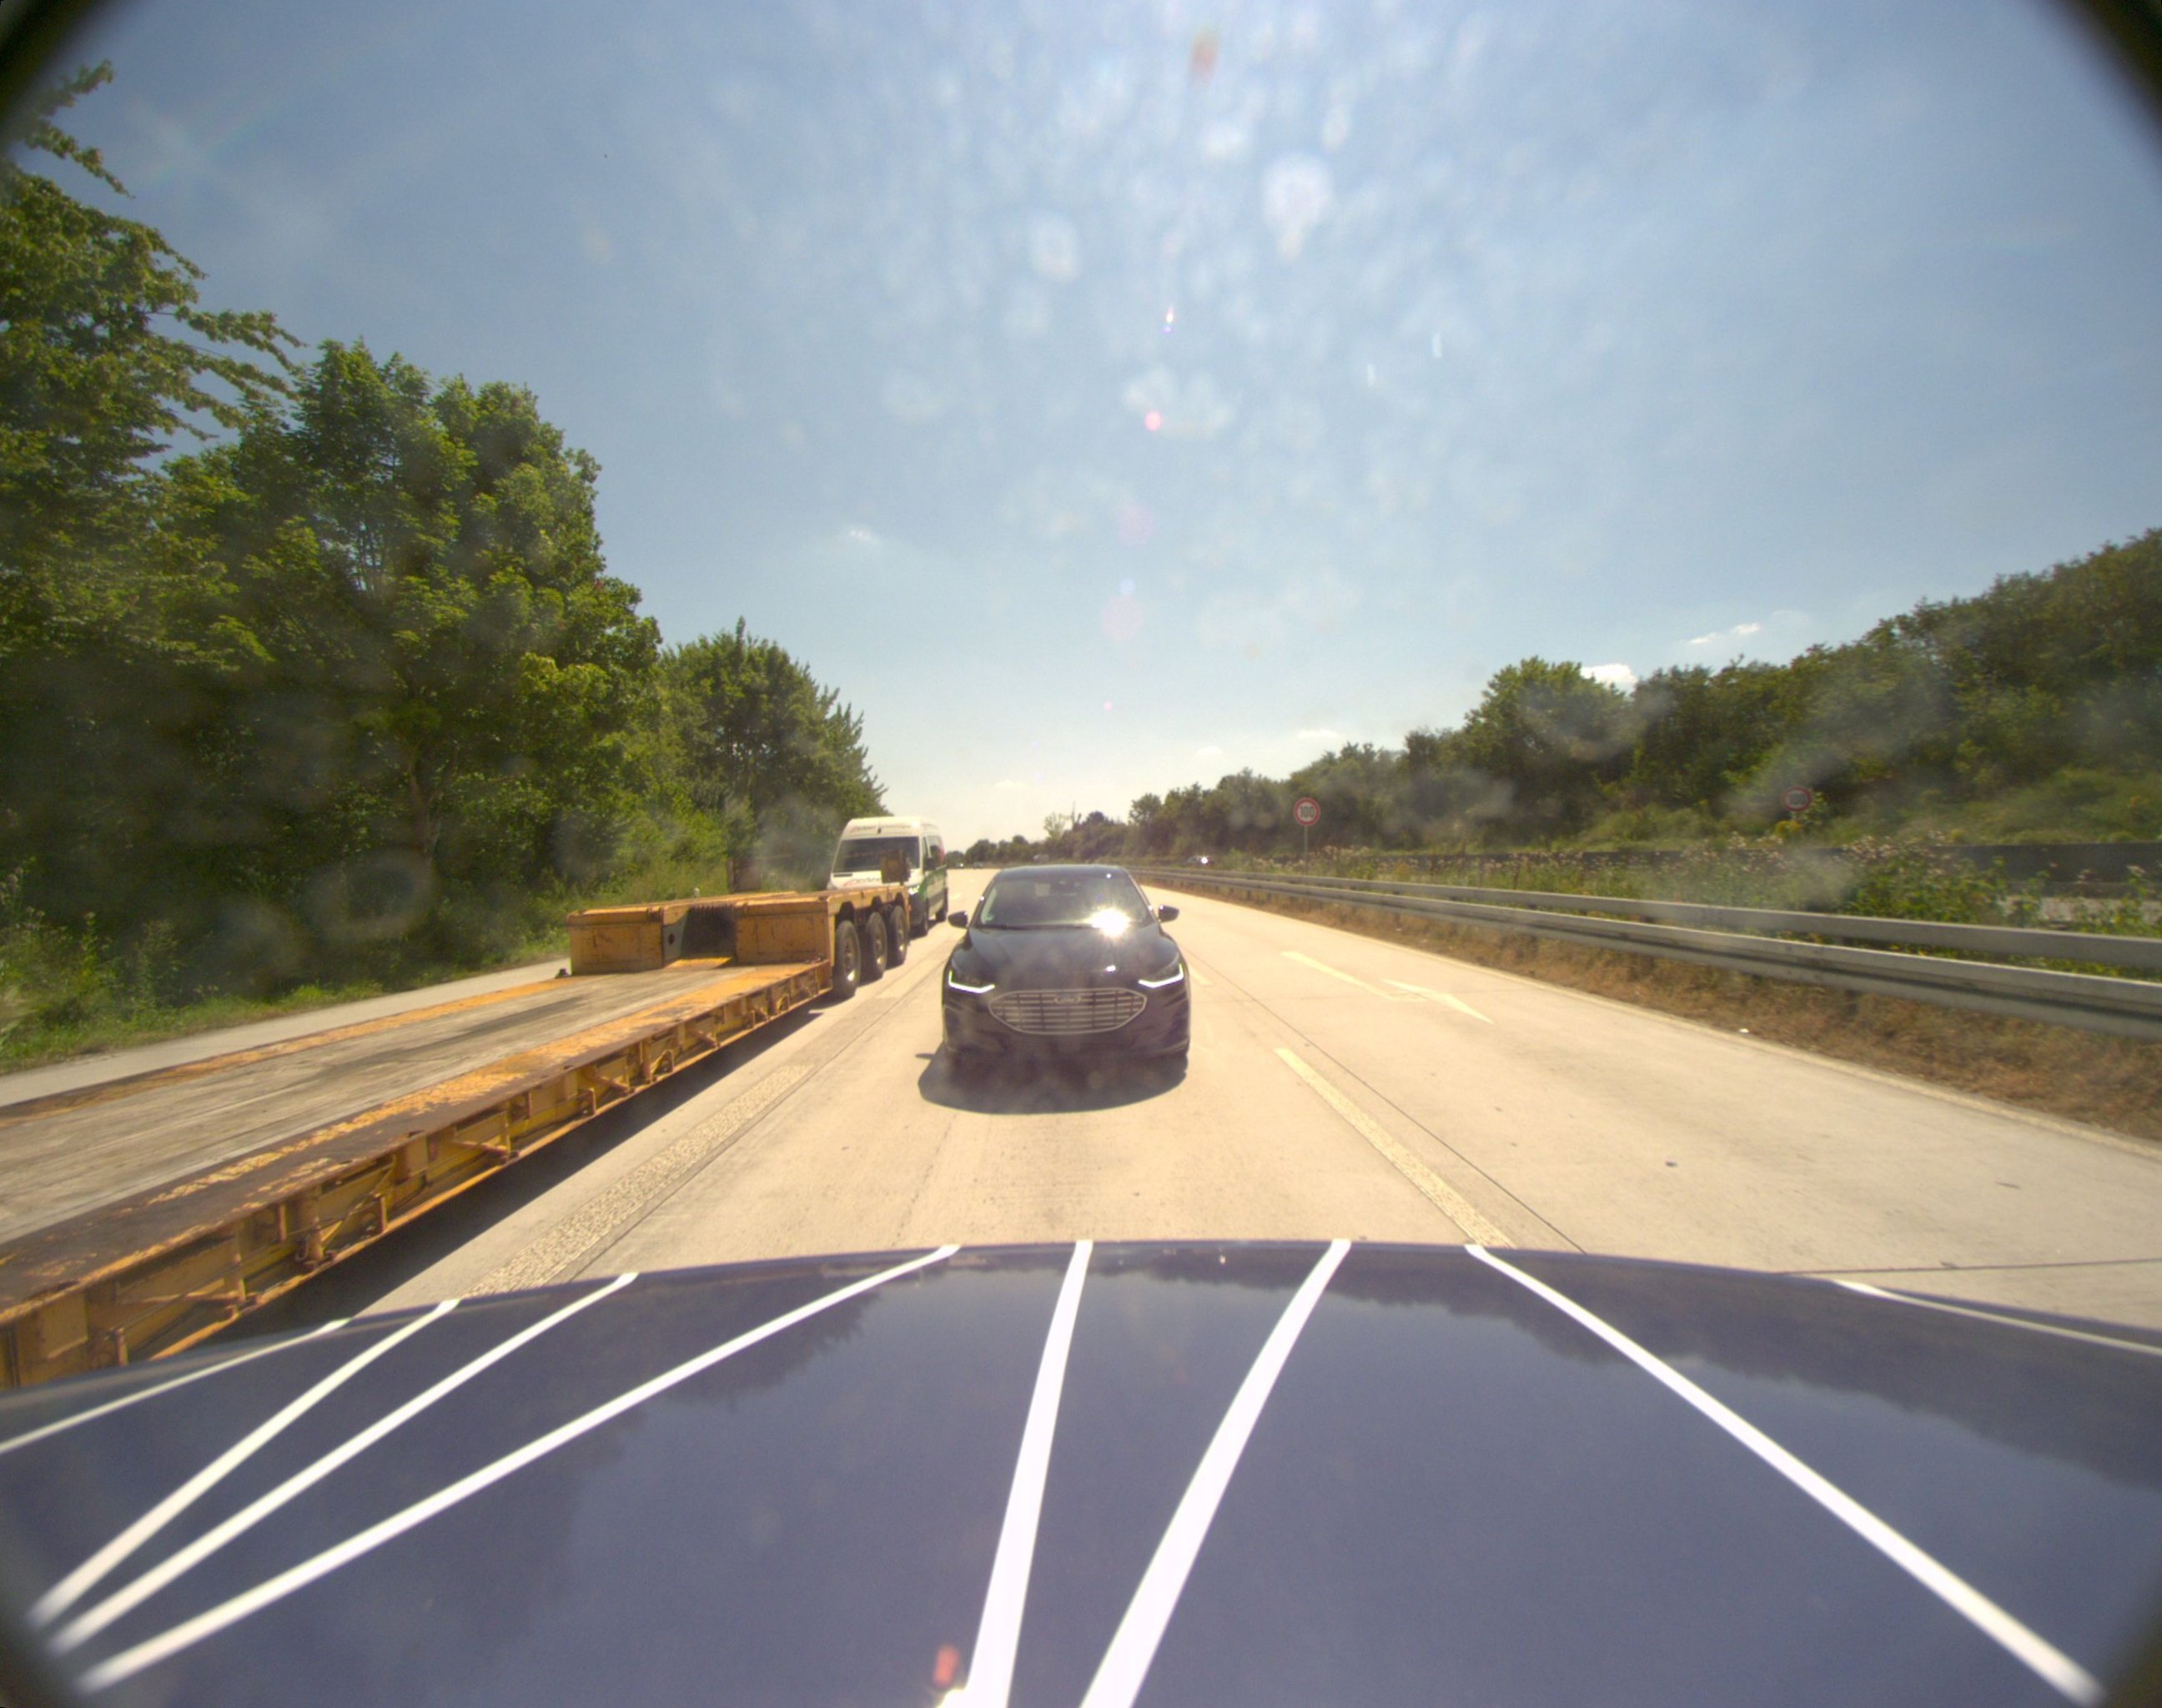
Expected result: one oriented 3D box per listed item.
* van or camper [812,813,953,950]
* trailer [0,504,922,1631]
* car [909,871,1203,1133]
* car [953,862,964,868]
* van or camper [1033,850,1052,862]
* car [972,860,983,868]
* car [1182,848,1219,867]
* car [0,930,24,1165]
[{"bbox_3d":[-4.293,0.496,17.558,2.069,2.559,5.904,-2,1,-5],"label":"van or camper"},{"bbox_3d":[-4.024,0.522,3.807,3.035,2.578,16.355,-2,0,0],"label":"trailer"},{"bbox_3d":[-0.124,0.947,6.757,1.731,1.430,4.304,-2,0,1],"label":"car"},{"bbox_3d":[-31.710,2.935,196.277,1.709,1.456,3.992,-3,1,-24],"label":"car"},{"bbox_3d":[-6.746,0.280,131.672,2.180,2.002,5.632,-2,1,-13],"label":"van or camper"},{"bbox_3d":[-21.801,2.077,159.933,1.629,1.476,3.993,-3,1,-20],"label":"car"},{"bbox_3d":[9.978,0.274,63.716,1.878,1.438,4.600,-2,1,-5],"label":"car"},{"bbox_3d":[-7.567,1.256,2.483,1.772,1.453,4.597,-2,1,-1],"label":"car"}]
